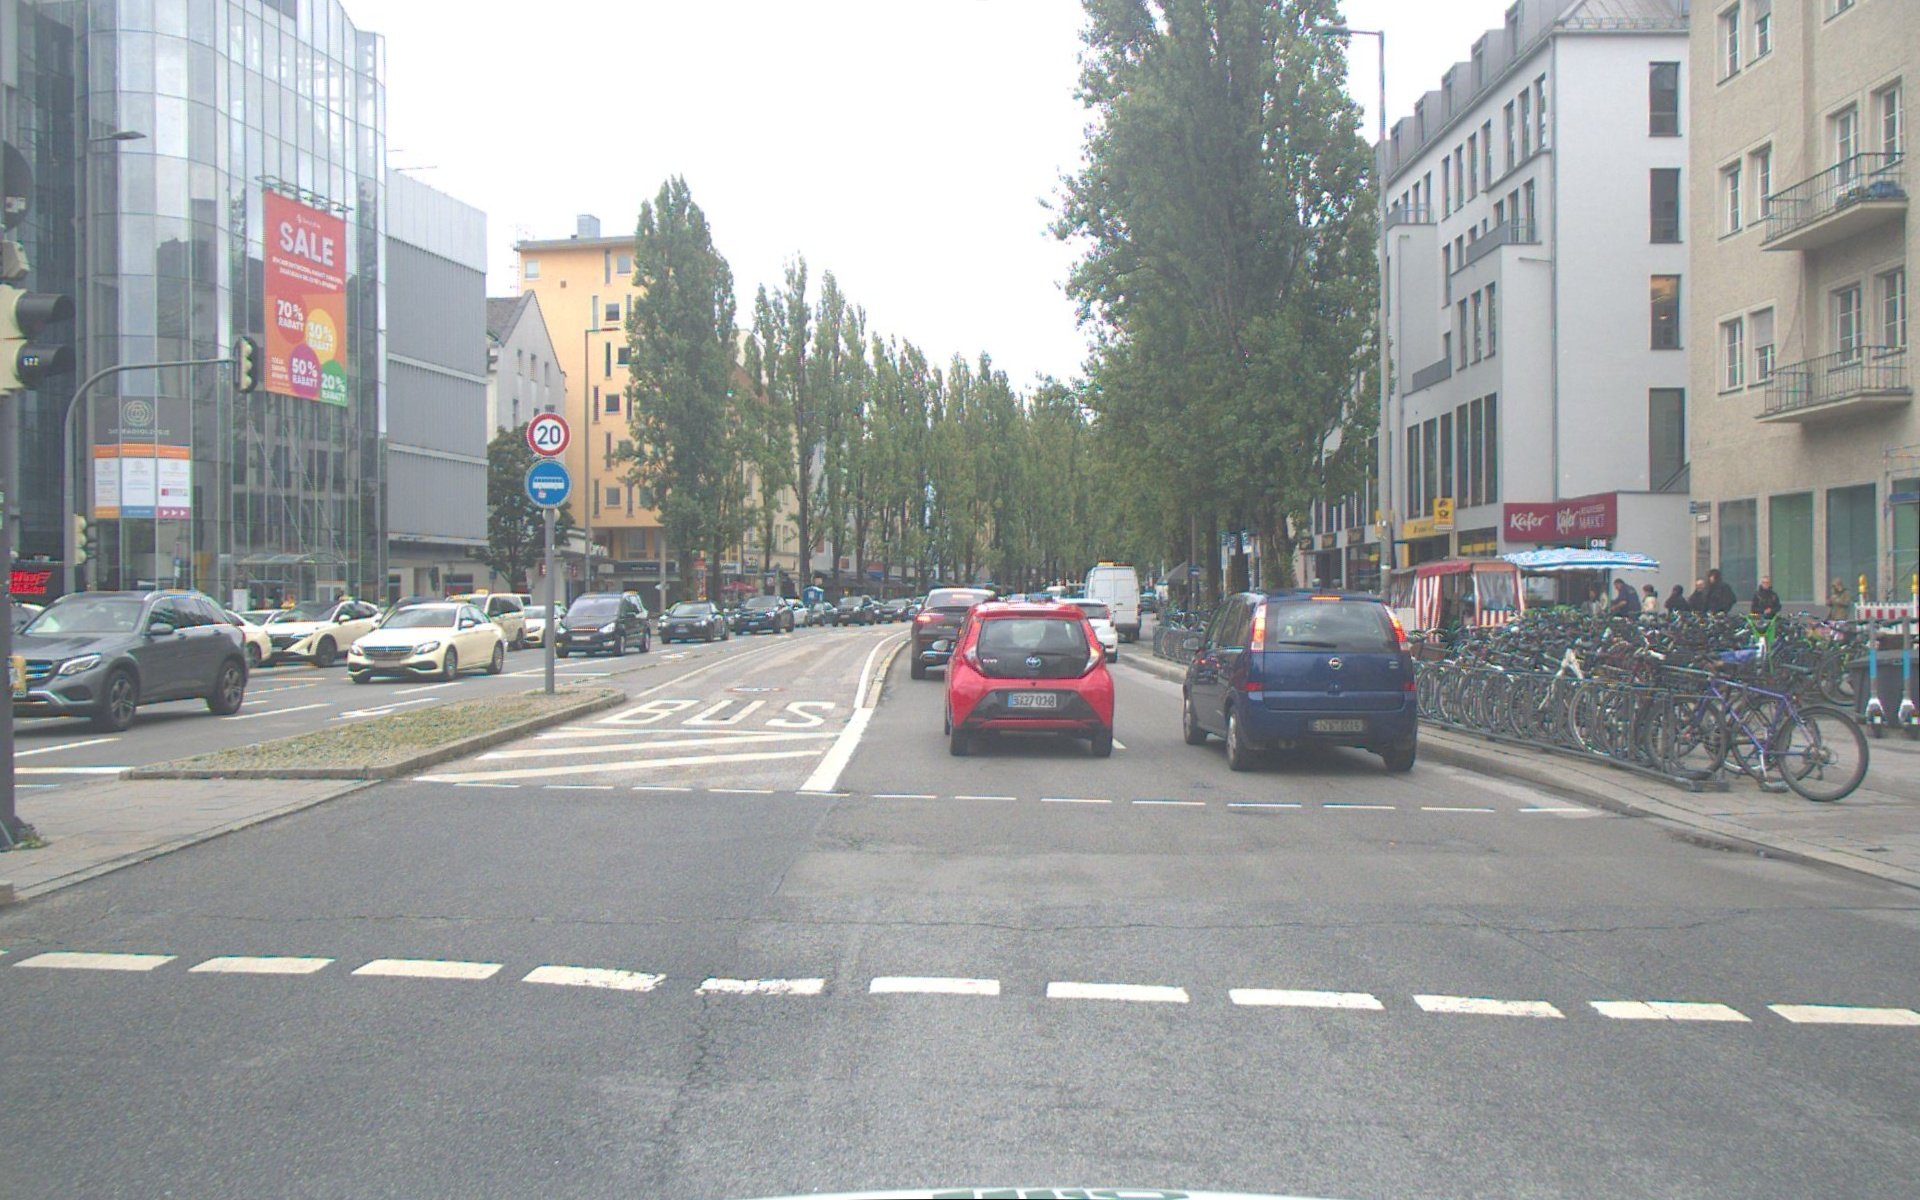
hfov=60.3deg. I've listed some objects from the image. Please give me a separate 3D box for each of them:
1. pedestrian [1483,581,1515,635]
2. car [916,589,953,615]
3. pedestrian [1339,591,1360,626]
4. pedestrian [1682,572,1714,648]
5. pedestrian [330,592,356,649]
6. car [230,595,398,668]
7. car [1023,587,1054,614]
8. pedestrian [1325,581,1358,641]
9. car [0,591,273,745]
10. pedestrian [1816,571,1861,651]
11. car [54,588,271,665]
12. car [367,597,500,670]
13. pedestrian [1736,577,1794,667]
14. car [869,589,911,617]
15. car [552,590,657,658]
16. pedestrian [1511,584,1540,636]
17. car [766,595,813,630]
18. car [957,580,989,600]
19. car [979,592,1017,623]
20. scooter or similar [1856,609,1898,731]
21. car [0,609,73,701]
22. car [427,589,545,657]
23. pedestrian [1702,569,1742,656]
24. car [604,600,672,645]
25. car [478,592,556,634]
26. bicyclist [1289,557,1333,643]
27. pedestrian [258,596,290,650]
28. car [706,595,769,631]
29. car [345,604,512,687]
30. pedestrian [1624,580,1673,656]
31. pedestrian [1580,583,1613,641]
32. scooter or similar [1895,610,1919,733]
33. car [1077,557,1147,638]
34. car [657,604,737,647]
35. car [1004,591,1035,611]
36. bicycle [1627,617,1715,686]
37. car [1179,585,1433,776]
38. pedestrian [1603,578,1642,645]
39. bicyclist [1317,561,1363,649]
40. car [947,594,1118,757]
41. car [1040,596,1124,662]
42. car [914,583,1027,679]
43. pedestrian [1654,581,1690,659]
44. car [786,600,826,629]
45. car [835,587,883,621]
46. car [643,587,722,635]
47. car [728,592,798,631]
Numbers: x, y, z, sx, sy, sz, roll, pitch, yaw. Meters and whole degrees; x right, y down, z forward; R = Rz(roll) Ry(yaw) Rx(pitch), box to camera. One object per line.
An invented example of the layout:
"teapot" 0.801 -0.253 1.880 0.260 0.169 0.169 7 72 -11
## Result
"pedestrian" 16.343 0.231 50.176 0.717 1.630 0.742 -1 0 -1
"car" -1.743 0.130 114.994 1.951 1.721 4.924 0 0 6
"pedestrian" 14.932 0.338 63.445 0.625 1.329 0.676 -1 0 -1
"pedestrian" 14.972 0.199 33.567 0.497 1.510 0.463 -1 0 35
"pedestrian" -20.170 0.654 54.088 0.545 1.849 0.628 -1 0 10
"car" -16.136 0.752 41.542 1.951 1.708 4.187 -1 0 12
"car" 5.553 0.023 116.689 1.951 1.870 4.003 -1 0 5
"pedestrian" 11.269 0.312 48.889 0.774 1.758 0.763 -1 0 -1
"car" -10.554 0.759 20.957 1.707 1.699 4.732 -1 0 0
"pedestrian" 18.603 0.230 35.021 0.628 1.673 0.562 -1 0 -1
"car" -17.097 0.533 35.730 1.951 1.534 4.638 0 0 8
"car" -12.875 0.779 40.725 1.801 1.642 4.258 -1 0 1
"pedestrian" 15.983 0.428 32.863 0.727 1.758 0.758 -2 0 -1
"car" -4.374 0.214 104.060 1.951 1.721 4.924 -1 -1 6
"car" -9.796 0.623 45.945 1.897 1.769 4.588 -1 0 0
"pedestrian" 15.529 0.273 45.448 0.586 1.427 0.580 -1 0 -1
"car" -9.462 0.683 91.963 1.817 1.847 4.002 1 0 5
"car" 1.157 -0.873 146.128 1.951 1.721 4.418 -1 0 12
"car" 1.910 0.373 82.581 1.736 1.464 3.940 -1 0 3
"scooter or similar" 9.550 0.705 17.224 0.357 1.196 1.345 -1 0 29
"car" -17.632 0.988 28.911 1.862 1.570 4.392 -1 0 0
"car" -15.464 0.705 54.272 1.952 2.049 5.526 -1 1 3
"pedestrian" 15.004 0.240 32.565 0.590 1.699 0.683 -1 0 35
"car" -11.661 0.794 60.036 1.590 1.579 3.386 -1 0 4
"car" -19.941 0.566 74.626 1.830 1.803 4.245 -1 0 8
"bicyclist" 7.960 -0.002 37.560 0.747 1.902 1.133 -1 0 0
"pedestrian" -22.093 0.744 53.242 0.637 1.721 0.712 -1 0 12
"car" -10.691 0.614 79.683 1.951 1.637 4.536 -1 0 6
"car" -10.246 0.823 32.242 1.729 1.446 4.639 -1 0 0
"pedestrian" 14.336 0.367 34.432 0.794 1.548 0.798 -1 0 32
"pedestrian" 15.808 0.293 41.071 0.586 1.427 0.580 -1 0 -1
"scooter or similar" 9.749 0.710 16.916 0.294 1.196 1.275 -1 0 29
"car" 5.443 -0.094 59.639 2.063 2.766 4.804 -1 0 0
"car" -9.345 0.890 59.150 1.806 1.406 4.603 -1 0 4
"car" 5.323 0.114 147.313 1.951 1.721 4.418 -1 0 12
"bicycle" 10.419 0.755 24.260 1.110 0.980 0.369 -1 0 5
"car" 3.212 0.679 15.997 1.668 1.617 3.556 -1 0 0
"pedestrian" 14.467 0.247 36.149 0.603 1.450 0.659 -1 0 4
"bicyclist" 7.517 0.093 32.742 0.601 1.686 1.251 -1 0 0
"car" 0.680 0.699 16.965 1.572 1.487 3.130 1 0 0
"car" 2.875 0.658 39.447 1.665 1.451 3.496 -1 0 -1
"car" 0.144 0.529 30.697 1.953 1.646 3.999 -1 0 -1
"pedestrian" 14.255 0.398 33.114 0.568 1.531 0.615 -1 0 31
"car" -8.870 0.816 95.733 1.709 1.598 3.494 -1 0 5
"car" -5.564 0.226 91.677 1.952 1.721 4.924 3 0 5
"car" -12.294 0.474 73.547 1.951 1.847 4.538 -4 1 10
"car" -8.281 0.468 69.864 1.951 1.561 4.591 -1 0 6
